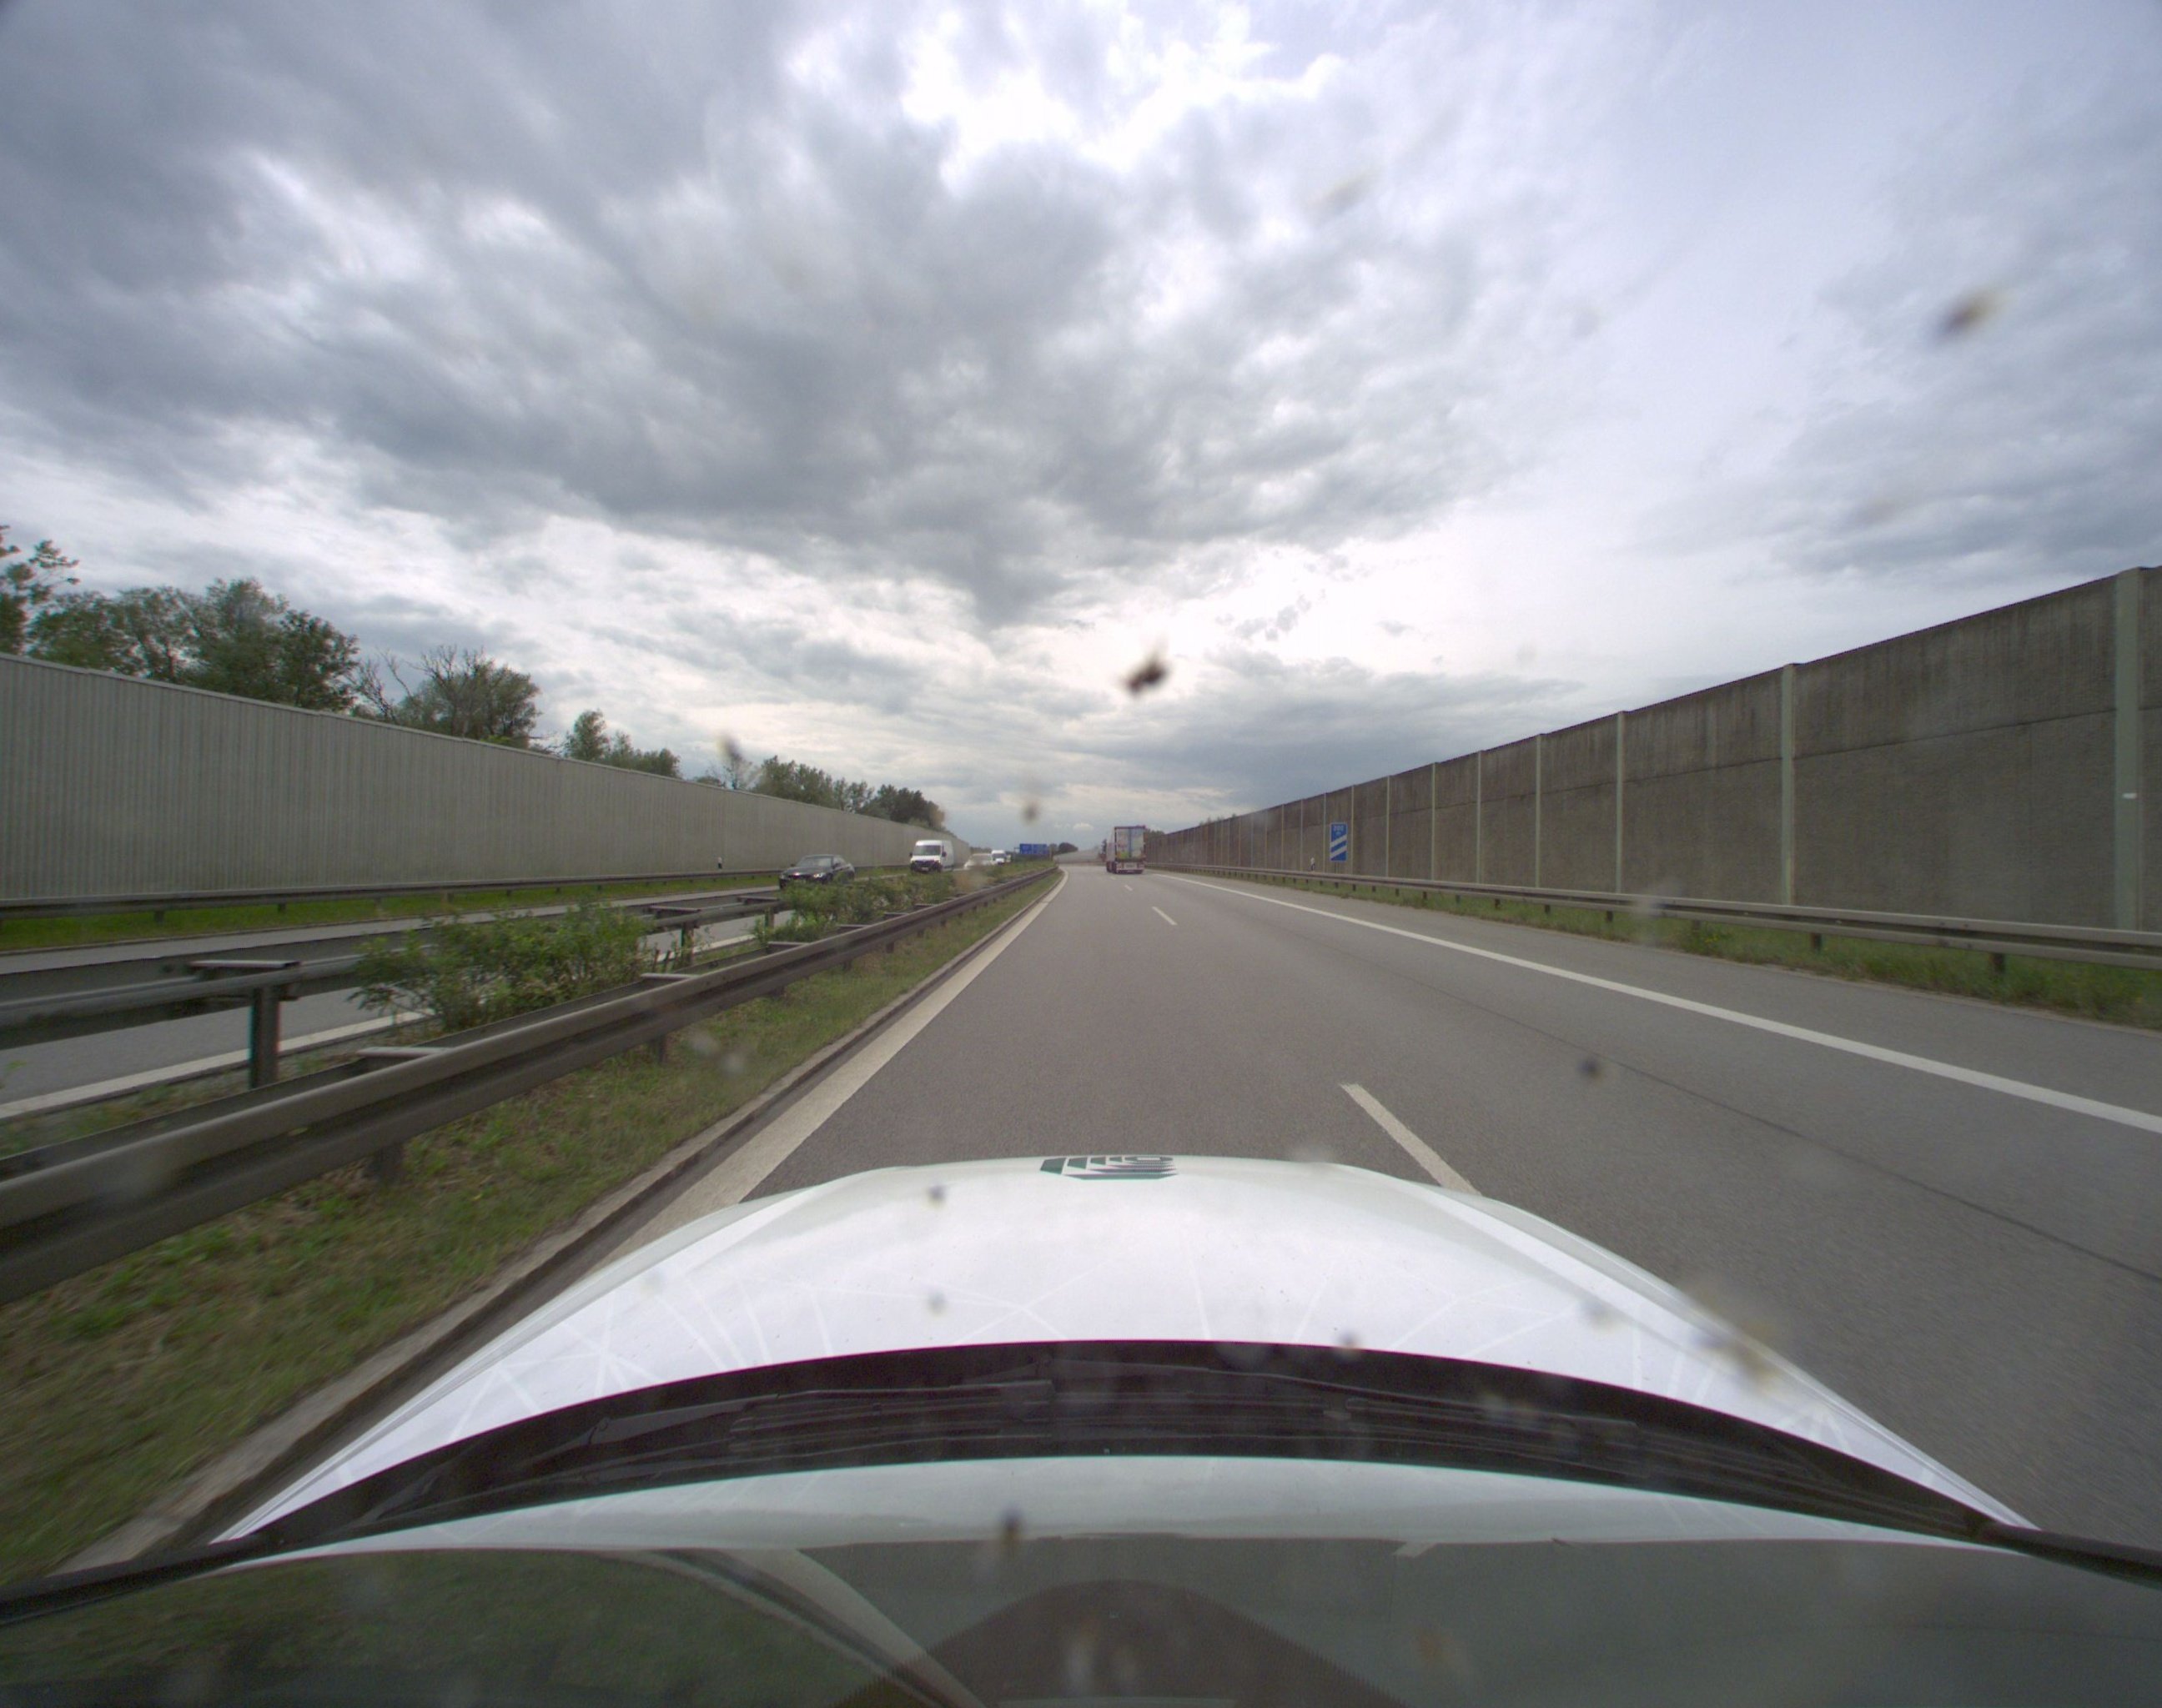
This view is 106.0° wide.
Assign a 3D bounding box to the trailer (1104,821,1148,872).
[{"bbox_3d":[3.923,-0.537,74.813,2.785,4.175,14.092,-1,-1,-2],"label":"trailer"}]

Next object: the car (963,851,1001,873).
[{"bbox_3d":[-6.542,0.485,54.376,1.799,1.414,4.969,0,0,1],"label":"car"}]

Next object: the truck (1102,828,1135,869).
[{"bbox_3d":[3.670,-0.494,81.150,2.749,3.960,5.671,-1,-1,-3],"label":"truck"}]

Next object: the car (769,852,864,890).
[{"bbox_3d":[-10.113,0.603,31.605,1.986,1.364,4.969,0,0,1],"label":"car"}]

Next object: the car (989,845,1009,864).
[{"bbox_3d":[-11.086,0.109,110.747,2.105,2.455,5.682,-1,0,0],"label":"car"}]

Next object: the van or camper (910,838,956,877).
[{"bbox_3d":[-9.999,0.198,55.542,1.988,2.441,6.306,-2,0,-1],"label":"van or camper"}]

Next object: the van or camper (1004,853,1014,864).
[{"bbox_3d":[-18.657,1.283,210.443,2.249,2.779,5.748,0,0,-3],"label":"van or camper"}]
